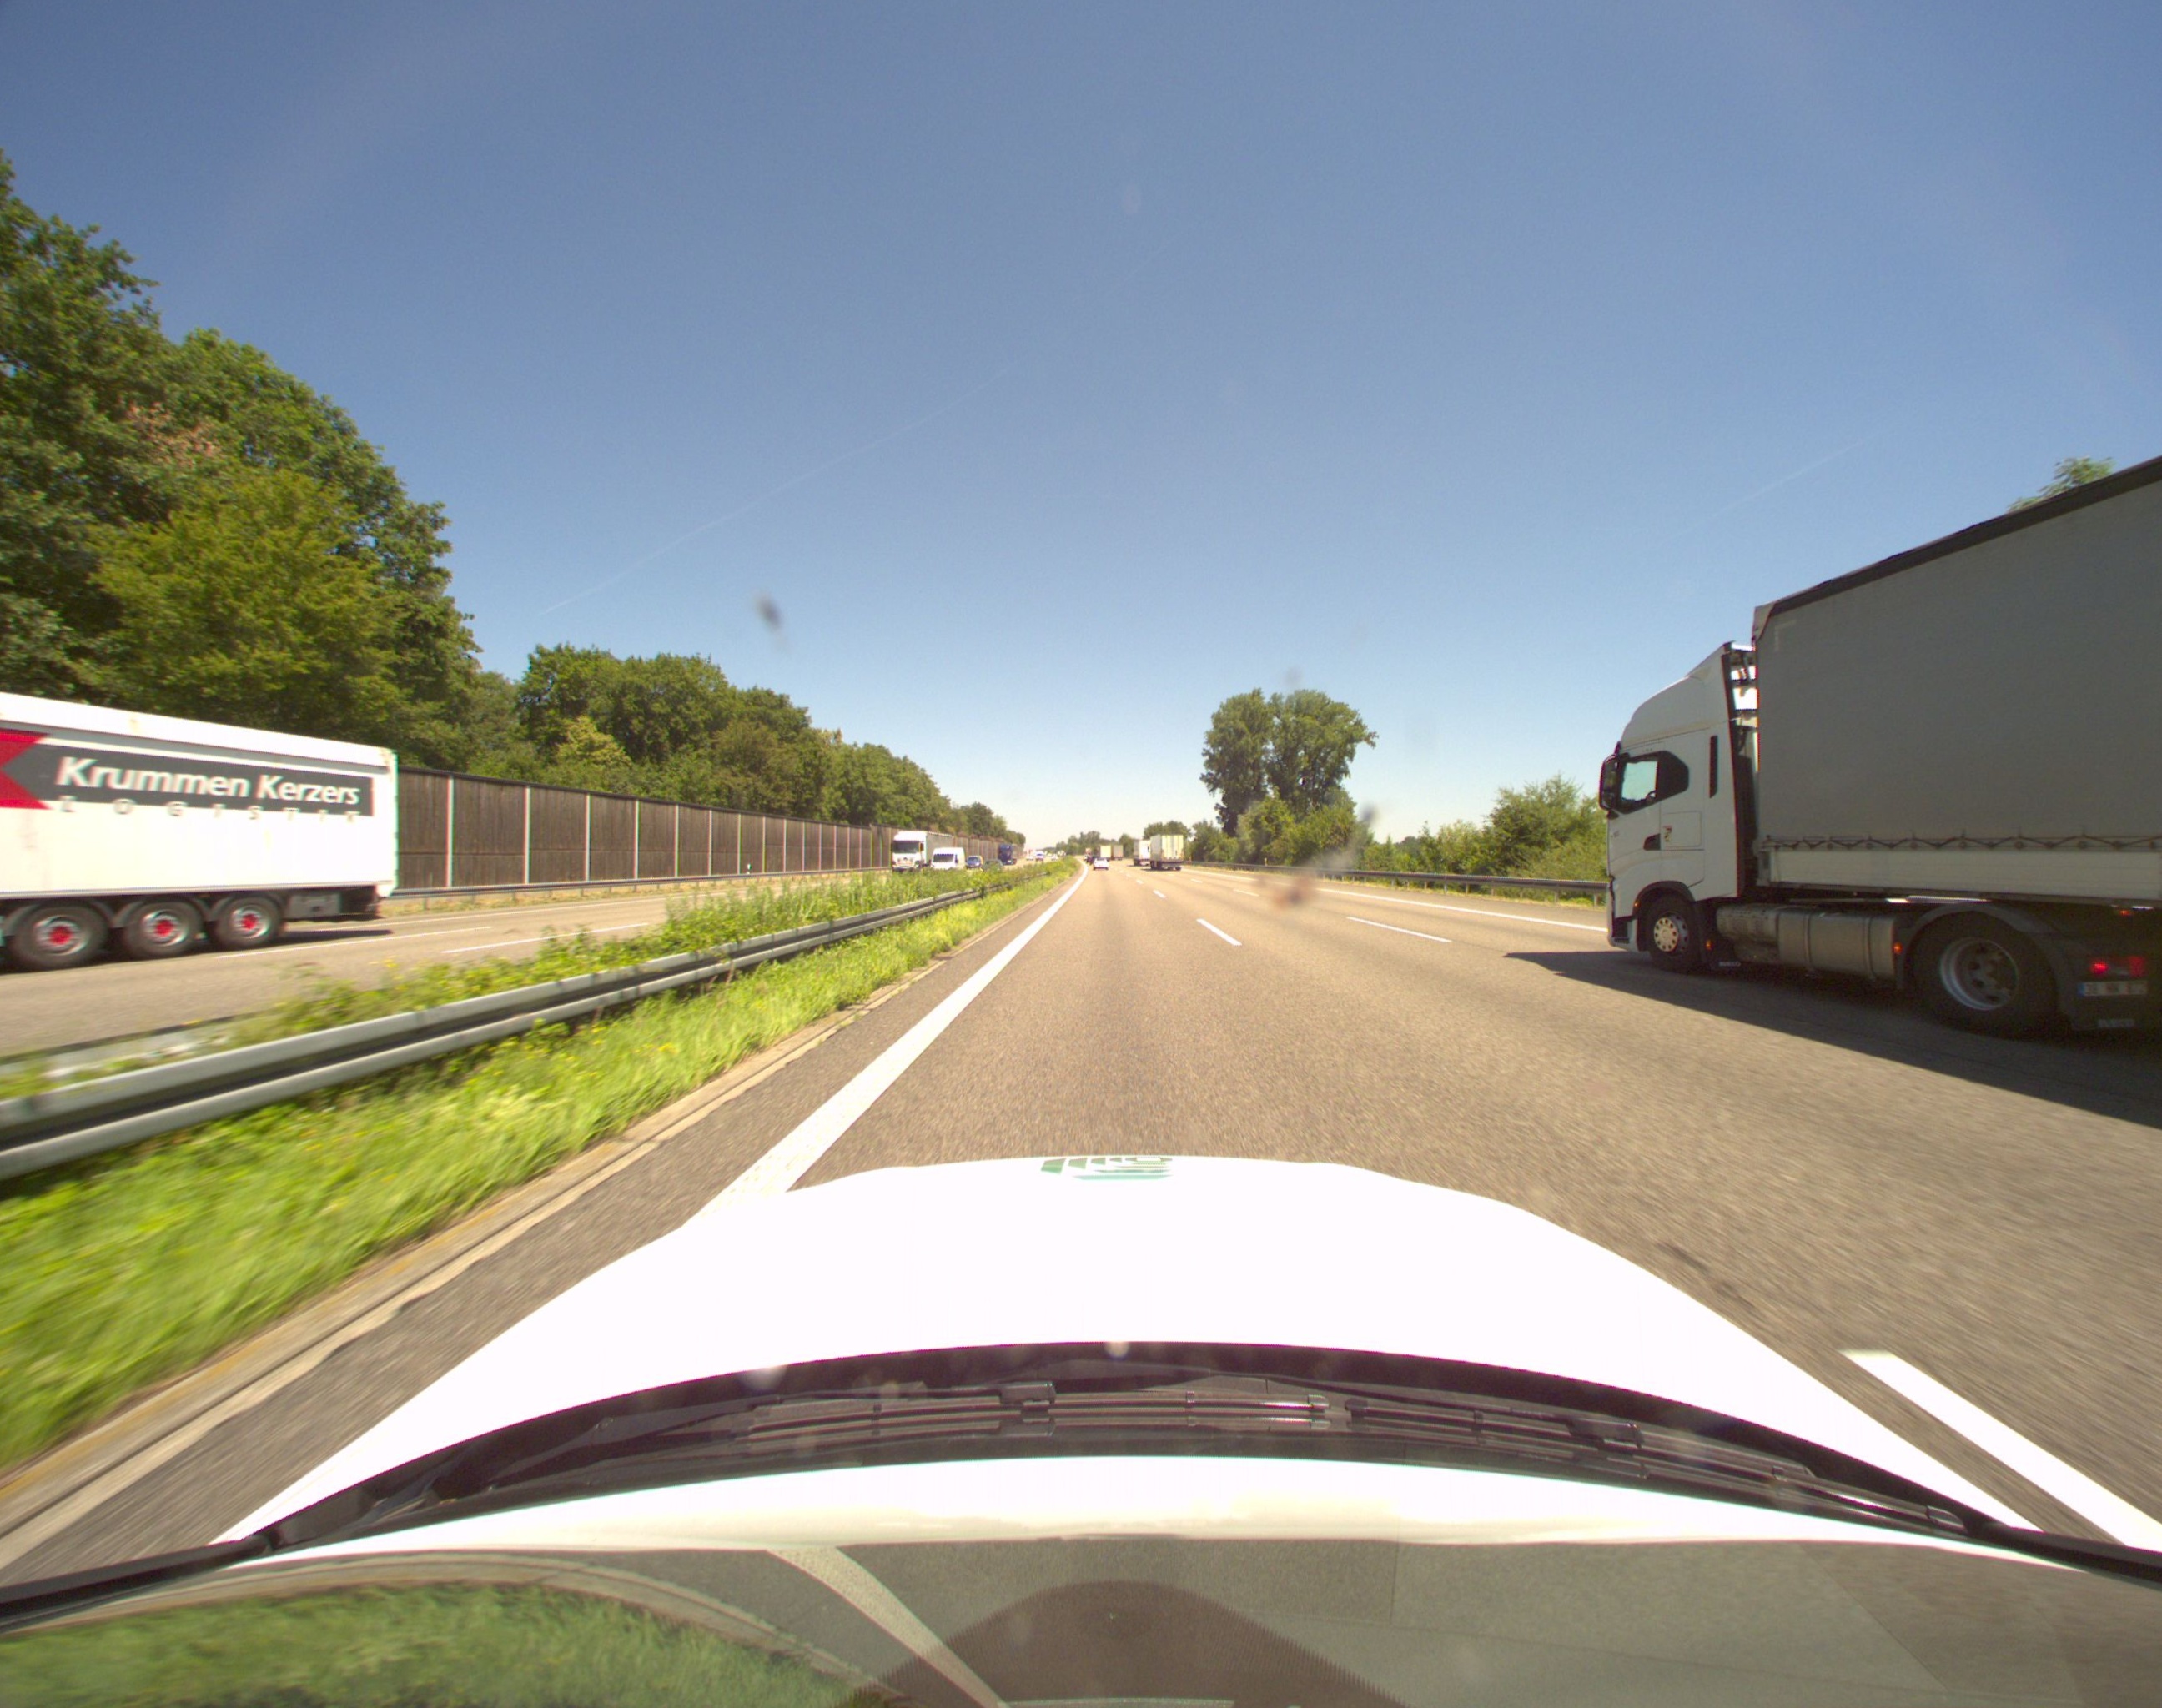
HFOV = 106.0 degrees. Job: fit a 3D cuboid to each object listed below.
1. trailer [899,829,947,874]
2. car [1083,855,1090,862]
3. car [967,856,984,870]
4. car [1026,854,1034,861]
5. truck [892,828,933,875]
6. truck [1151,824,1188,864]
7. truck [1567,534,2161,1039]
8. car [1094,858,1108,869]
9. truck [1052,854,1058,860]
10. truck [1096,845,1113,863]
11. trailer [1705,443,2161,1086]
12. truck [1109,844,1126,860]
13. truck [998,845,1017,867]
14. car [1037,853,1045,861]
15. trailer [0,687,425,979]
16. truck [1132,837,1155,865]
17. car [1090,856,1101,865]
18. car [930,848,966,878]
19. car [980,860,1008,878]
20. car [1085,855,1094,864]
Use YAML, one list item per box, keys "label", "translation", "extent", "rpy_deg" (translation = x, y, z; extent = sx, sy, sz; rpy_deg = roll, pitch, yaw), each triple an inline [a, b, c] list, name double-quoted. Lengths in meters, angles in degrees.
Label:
- label: "trailer"
  translation: [-15.275, -0.152, 79.881]
  extent: [2.498, 4.034, 13.410]
  rpy_deg: [0, 0, -2]
- label: "car"
  translation: [1.513, 1.295, 219.068]
  extent: [1.717, 1.783, 4.001]
  rpy_deg: [0, -1, 2]
- label: "car"
  translation: [-14.573, 1.235, 112.985]
  extent: [1.795, 2.014, 4.000]
  rpy_deg: [0, -1, 1]
- label: "car"
  translation: [-15.374, 1.083, 246.221]
  extent: [1.986, 2.014, 4.002]
  rpy_deg: [0, -1, 2]
- label: "truck"
  translation: [-15.084, -0.226, 73.251]
  extent: [2.495, 4.055, 6.358]
  rpy_deg: [0, 0, -1]
- label: "truck"
  translation: [9.966, -1.016, 92.758]
  extent: [3.478, 4.311, 10.994]
  rpy_deg: [0, -1, 2]
- label: "truck"
  translation: [8.615, -0.548, 9.622]
  extent: [2.596, 4.287, 5.437]
  rpy_deg: [0, -1, 2]
- label: "car"
  translation: [2.463, 1.135, 100.132]
  extent: [1.709, 1.369, 3.376]
  rpy_deg: [-1, 0, 2]
- label: "truck"
  translation: [-7.698, 0.873, 240.854]
  extent: [1.814, 1.524, 3.623]
  rpy_deg: [0, -1, -4]
- label: "truck"
  translation: [6.009, 0.005, 207.617]
  extent: [3.571, 4.311, 12.178]
  rpy_deg: [0, -1, -2]
- label: "trailer"
  translation: [8.378, -0.636, 2.427]
  extent: [2.614, 4.261, 14.065]
  rpy_deg: [0, -1, 2]
- label: "truck"
  translation: [10.096, -0.416, 227.138]
  extent: [3.819, 4.311, 11.547]
  rpy_deg: [0, -1, -1]
- label: "truck"
  translation: [-14.103, 0.411, 156.704]
  extent: [2.602, 4.128, 10.278]
  rpy_deg: [0, -1, 0]
- label: "car"
  translation: [-10.485, 0.885, 214.718]
  extent: [1.988, 2.014, 3.998]
  rpy_deg: [0, -1, -1]
- label: "trailer"
  translation: [-16.458, -0.291, 11.238]
  extent: [2.744, 4.075, 14.394]
  rpy_deg: [0, -1, 2]
- label: "truck"
  translation: [9.873, -0.374, 129.503]
  extent: [3.346, 4.311, 10.834]
  rpy_deg: [0, -1, 2]
- label: "car"
  translation: [2.723, 1.187, 148.933]
  extent: [1.986, 1.772, 4.001]
  rpy_deg: [0, -1, 1]
- label: "car"
  translation: [-11.148, 0.728, 68.810]
  extent: [2.074, 2.402, 6.040]
  rpy_deg: [0, 0, 0]
- label: "car"
  translation: [-7.268, 1.254, 68.273]
  extent: [1.753, 1.428, 3.936]
  rpy_deg: [0, 0, 1]
- label: "car"
  translation: [1.831, 1.171, 175.334]
  extent: [1.986, 2.014, 4.001]
  rpy_deg: [0, -1, 2]
